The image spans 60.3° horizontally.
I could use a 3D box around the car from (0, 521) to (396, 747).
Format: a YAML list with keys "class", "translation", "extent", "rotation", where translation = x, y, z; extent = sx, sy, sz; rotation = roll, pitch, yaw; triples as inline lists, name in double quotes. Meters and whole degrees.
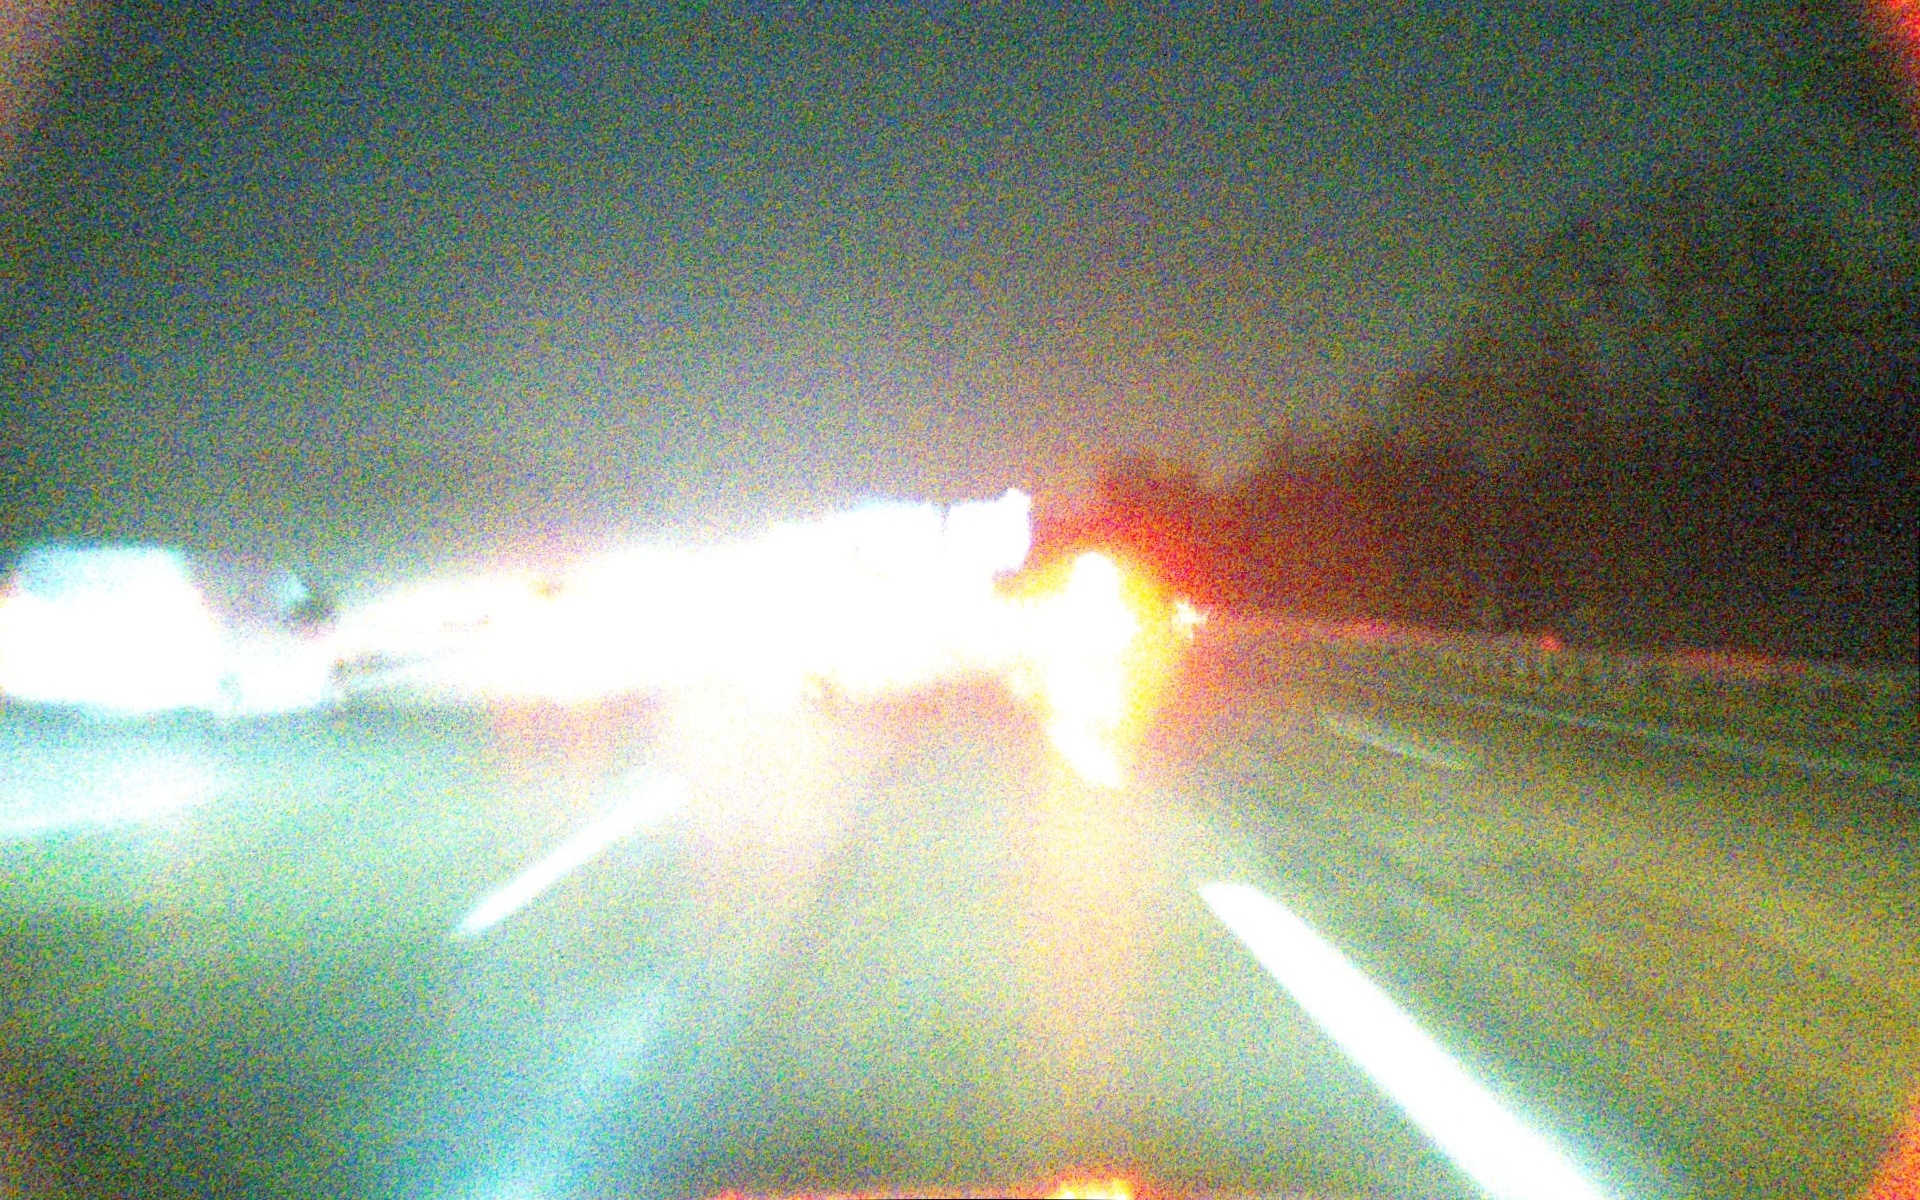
- class: "car"
  translation: [-8.341, 0.327, 18.606]
  extent: [2.080, 2.141, 5.628]
  rotation: [1, 0, 0]

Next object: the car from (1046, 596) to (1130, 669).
- class: "car"
  translation: [3.307, 0.828, 43.362]
  extent: [1.839, 1.793, 4.000]
  rotation: [1, 0, 0]

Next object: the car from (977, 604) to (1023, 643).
- class: "car"
  translation: [1.801, 1.059, 76.006]
  extent: [1.953, 1.733, 4.457]
  rotation: [1, 0, -1]

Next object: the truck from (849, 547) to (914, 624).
- class: "truck"
  translation: [-5.789, -1.002, 124.839]
  extent: [4.166, 5.539, 10.884]
  rotation: [1, 0, 1]

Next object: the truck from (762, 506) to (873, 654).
- class: "truck"
  translation: [-5.120, -0.633, 59.678]
  extent: [3.585, 4.820, 9.842]
  rotation: [1, 0, -5]

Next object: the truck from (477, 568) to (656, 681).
- class: "truck"
  translation: [-8.492, 0.523, 36.369]
  extent: [2.800, 2.239, 5.854]
  rotation: [1, 0, -3]

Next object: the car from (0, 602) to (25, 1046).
- class: "car"
  translation: [-3.902, 0.735, 3.410]
  extent: [1.623, 1.456, 4.245]
  rotation: [0, 0, -2]

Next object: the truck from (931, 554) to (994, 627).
- class: "truck"
  translation: [0.089, -0.654, 125.529]
  extent: [4.079, 5.306, 9.946]
  rotation: [1, 0, -3]

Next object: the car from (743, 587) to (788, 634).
- class: "car"
  translation: [-9.995, 0.536, 84.878]
  extent: [2.220, 2.313, 5.377]
  rotation: [1, 0, -7]

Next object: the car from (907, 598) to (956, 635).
- class: "car"
  translation: [-1.650, 0.951, 96.957]
  extent: [2.775, 2.049, 5.509]
  rotation: [1, 0, 0]

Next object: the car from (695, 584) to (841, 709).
- class: "car"
  translation: [-2.795, 0.631, 24.865]
  extent: [1.729, 1.719, 4.000]
  rotation: [0, 0, 0]

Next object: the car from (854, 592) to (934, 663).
- class: "car"
  translation: [-1.727, 0.723, 44.501]
  extent: [1.997, 1.792, 4.514]
  rotation: [1, 0, -1]
